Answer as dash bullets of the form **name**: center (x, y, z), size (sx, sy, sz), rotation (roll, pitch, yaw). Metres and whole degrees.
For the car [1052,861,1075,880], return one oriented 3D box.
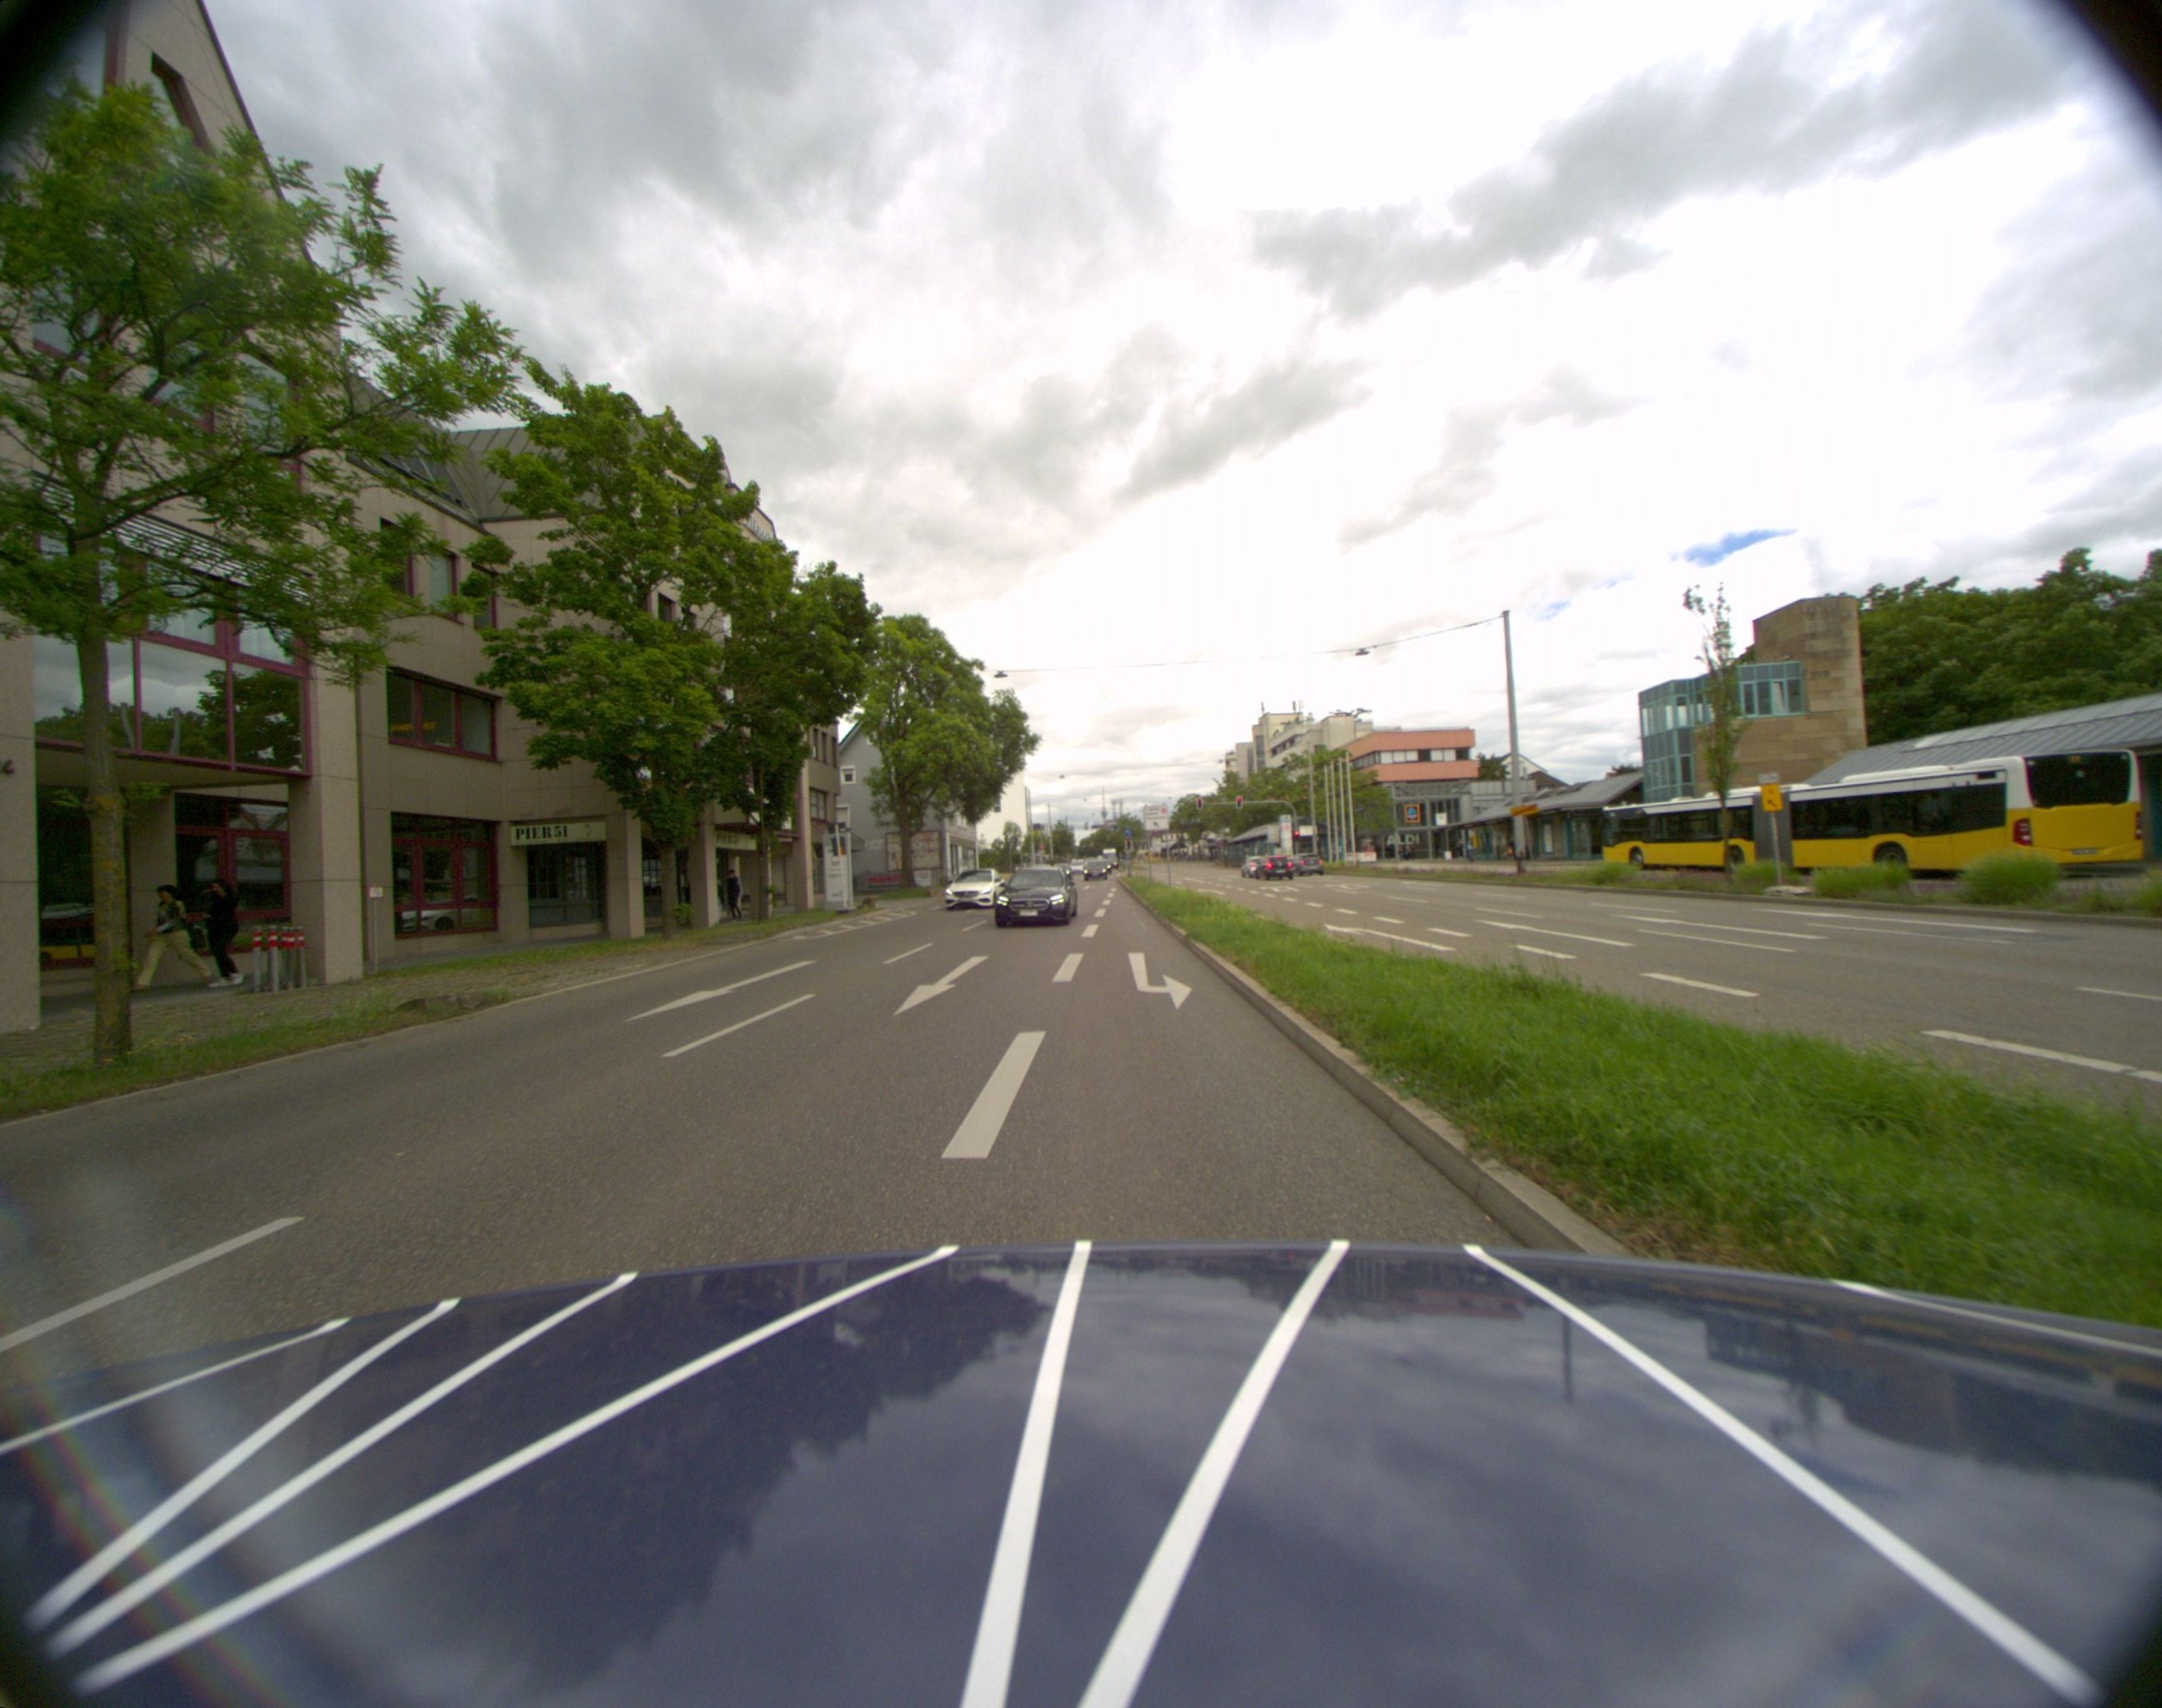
- **car**: center (-1.514, 1.375, 64.799), size (1.769, 1.440, 4.419), rotation (-3, 0, -2)

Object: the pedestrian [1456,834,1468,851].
- **pedestrian**: center (33.397, -1.027, 66.552), size (0.591, 1.452, 0.993), rotation (-3, 0, 7)

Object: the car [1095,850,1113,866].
- **car**: center (2.414, 0.439, 80.208), size (1.763, 1.531, 4.048), rotation (-2, 0, 1)

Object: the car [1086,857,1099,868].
- **car**: center (1.803, 1.362, 121.564), size (2.020, 1.759, 4.000), rotation (-3, 0, 1)

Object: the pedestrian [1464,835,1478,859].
- **pedestrian**: center (27.244, -0.496, 53.035), size (0.621, 1.640, 0.658), rotation (-3, 1, 4)

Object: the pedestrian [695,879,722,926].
- **pedestrian**: center (-12.444, 1.613, 25.396), size (0.562, 1.541, 0.544), rotation (-1, 1, 3)

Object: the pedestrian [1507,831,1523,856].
- **pedestrian**: center (29.337, -0.682, 51.364), size (0.621, 1.640, 0.658), rotation (-3, 1, 4)

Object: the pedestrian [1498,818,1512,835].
- **pedestrian**: center (29.469, -1.918, 52.823), size (0.621, 1.114, 0.658), rotation (-3, 1, 4)

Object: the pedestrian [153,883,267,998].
- **pedestrian**: center (-13.741, 1.339, 12.019), size (0.596, 1.695, 0.970), rotation (-3, 0, 4)

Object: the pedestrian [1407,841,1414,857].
- **pedestrian**: center (31.534, -0.465, 72.700), size (0.485, 1.539, 0.383), rotation (-3, 0, -9)

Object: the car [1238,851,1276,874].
- **car**: center (12.268, 0.586, 53.106), size (1.749, 1.456, 3.790), rotation (-3, -1, 0)

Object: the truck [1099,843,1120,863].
- **truck**: center (4.962, -0.139, 133.617), size (3.119, 3.208, 6.524), rotation (-3, 0, -2)

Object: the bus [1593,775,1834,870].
- **bus**: center (25.364, -1.091, 31.410), size (2.781, 3.113, 9.443), rotation (-4, 0, 7)

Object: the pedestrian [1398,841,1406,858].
- **pedestrian**: center (30.786, -0.445, 72.889), size (0.529, 1.539, 0.754), rotation (-3, 0, 15)

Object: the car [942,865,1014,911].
- **car**: center (-3.867, 1.256, 29.349), size (1.798, 1.464, 4.700), rotation (-3, 0, 4)

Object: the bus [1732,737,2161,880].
- **bus**: center (24.215, -1.064, 22.438), size (2.815, 3.113, 9.305), rotation (-5, 0, 8)

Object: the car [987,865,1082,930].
- **car**: center (-1.113, 1.090, 20.809), size (2.058, 1.477, 4.974), rotation (-1, 0, 2)

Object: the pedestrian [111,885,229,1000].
- **pedestrian**: center (-14.461, 1.378, 12.090), size (0.596, 1.695, 0.970), rotation (-3, 0, 4)

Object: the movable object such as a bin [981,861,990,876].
- **movable object such as a bin**: center (-7.653, 1.152, 60.935), size (0.610, 1.097, 0.710), rotation (-3, 0, 3)

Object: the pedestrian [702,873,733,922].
- **pedestrian**: center (-13.036, 1.544, 27.250), size (0.659, 1.681, 0.843), rotation (-1, 0, 3)

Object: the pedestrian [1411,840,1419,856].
- **pedestrian**: center (32.206, -0.595, 73.278), size (0.486, 1.539, 0.383), rotation (-3, 0, -33)

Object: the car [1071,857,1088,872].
- **car**: center (-0.157, 1.159, 87.161), size (1.763, 1.625, 4.155), rotation (-2, 0, 1)

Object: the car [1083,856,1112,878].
- **car**: center (1.279, 1.028, 60.760), size (1.972, 1.630, 4.311), rotation (-1, 0, -3)

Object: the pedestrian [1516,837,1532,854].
- **pedestrian**: center (29.340, -0.546, 50.306), size (0.621, 1.114, 0.658), rotation (-3, 1, 4)

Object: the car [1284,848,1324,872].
- **car**: center (15.442, 0.404, 52.852), size (1.819, 1.499, 4.001), rotation (-2, 0, 4)

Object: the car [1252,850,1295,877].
- **car**: center (11.846, 0.554, 47.038), size (1.663, 1.499, 3.768), rotation (-3, 0, 0)

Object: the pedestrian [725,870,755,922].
- **pedestrian**: center (-12.217, 1.484, 27.240), size (0.659, 1.815, 0.843), rotation (-1, 1, 3)

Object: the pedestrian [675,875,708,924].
- **pedestrian**: center (-13.938, 1.610, 27.209), size (0.659, 1.681, 0.843), rotation (-1, 0, 3)
